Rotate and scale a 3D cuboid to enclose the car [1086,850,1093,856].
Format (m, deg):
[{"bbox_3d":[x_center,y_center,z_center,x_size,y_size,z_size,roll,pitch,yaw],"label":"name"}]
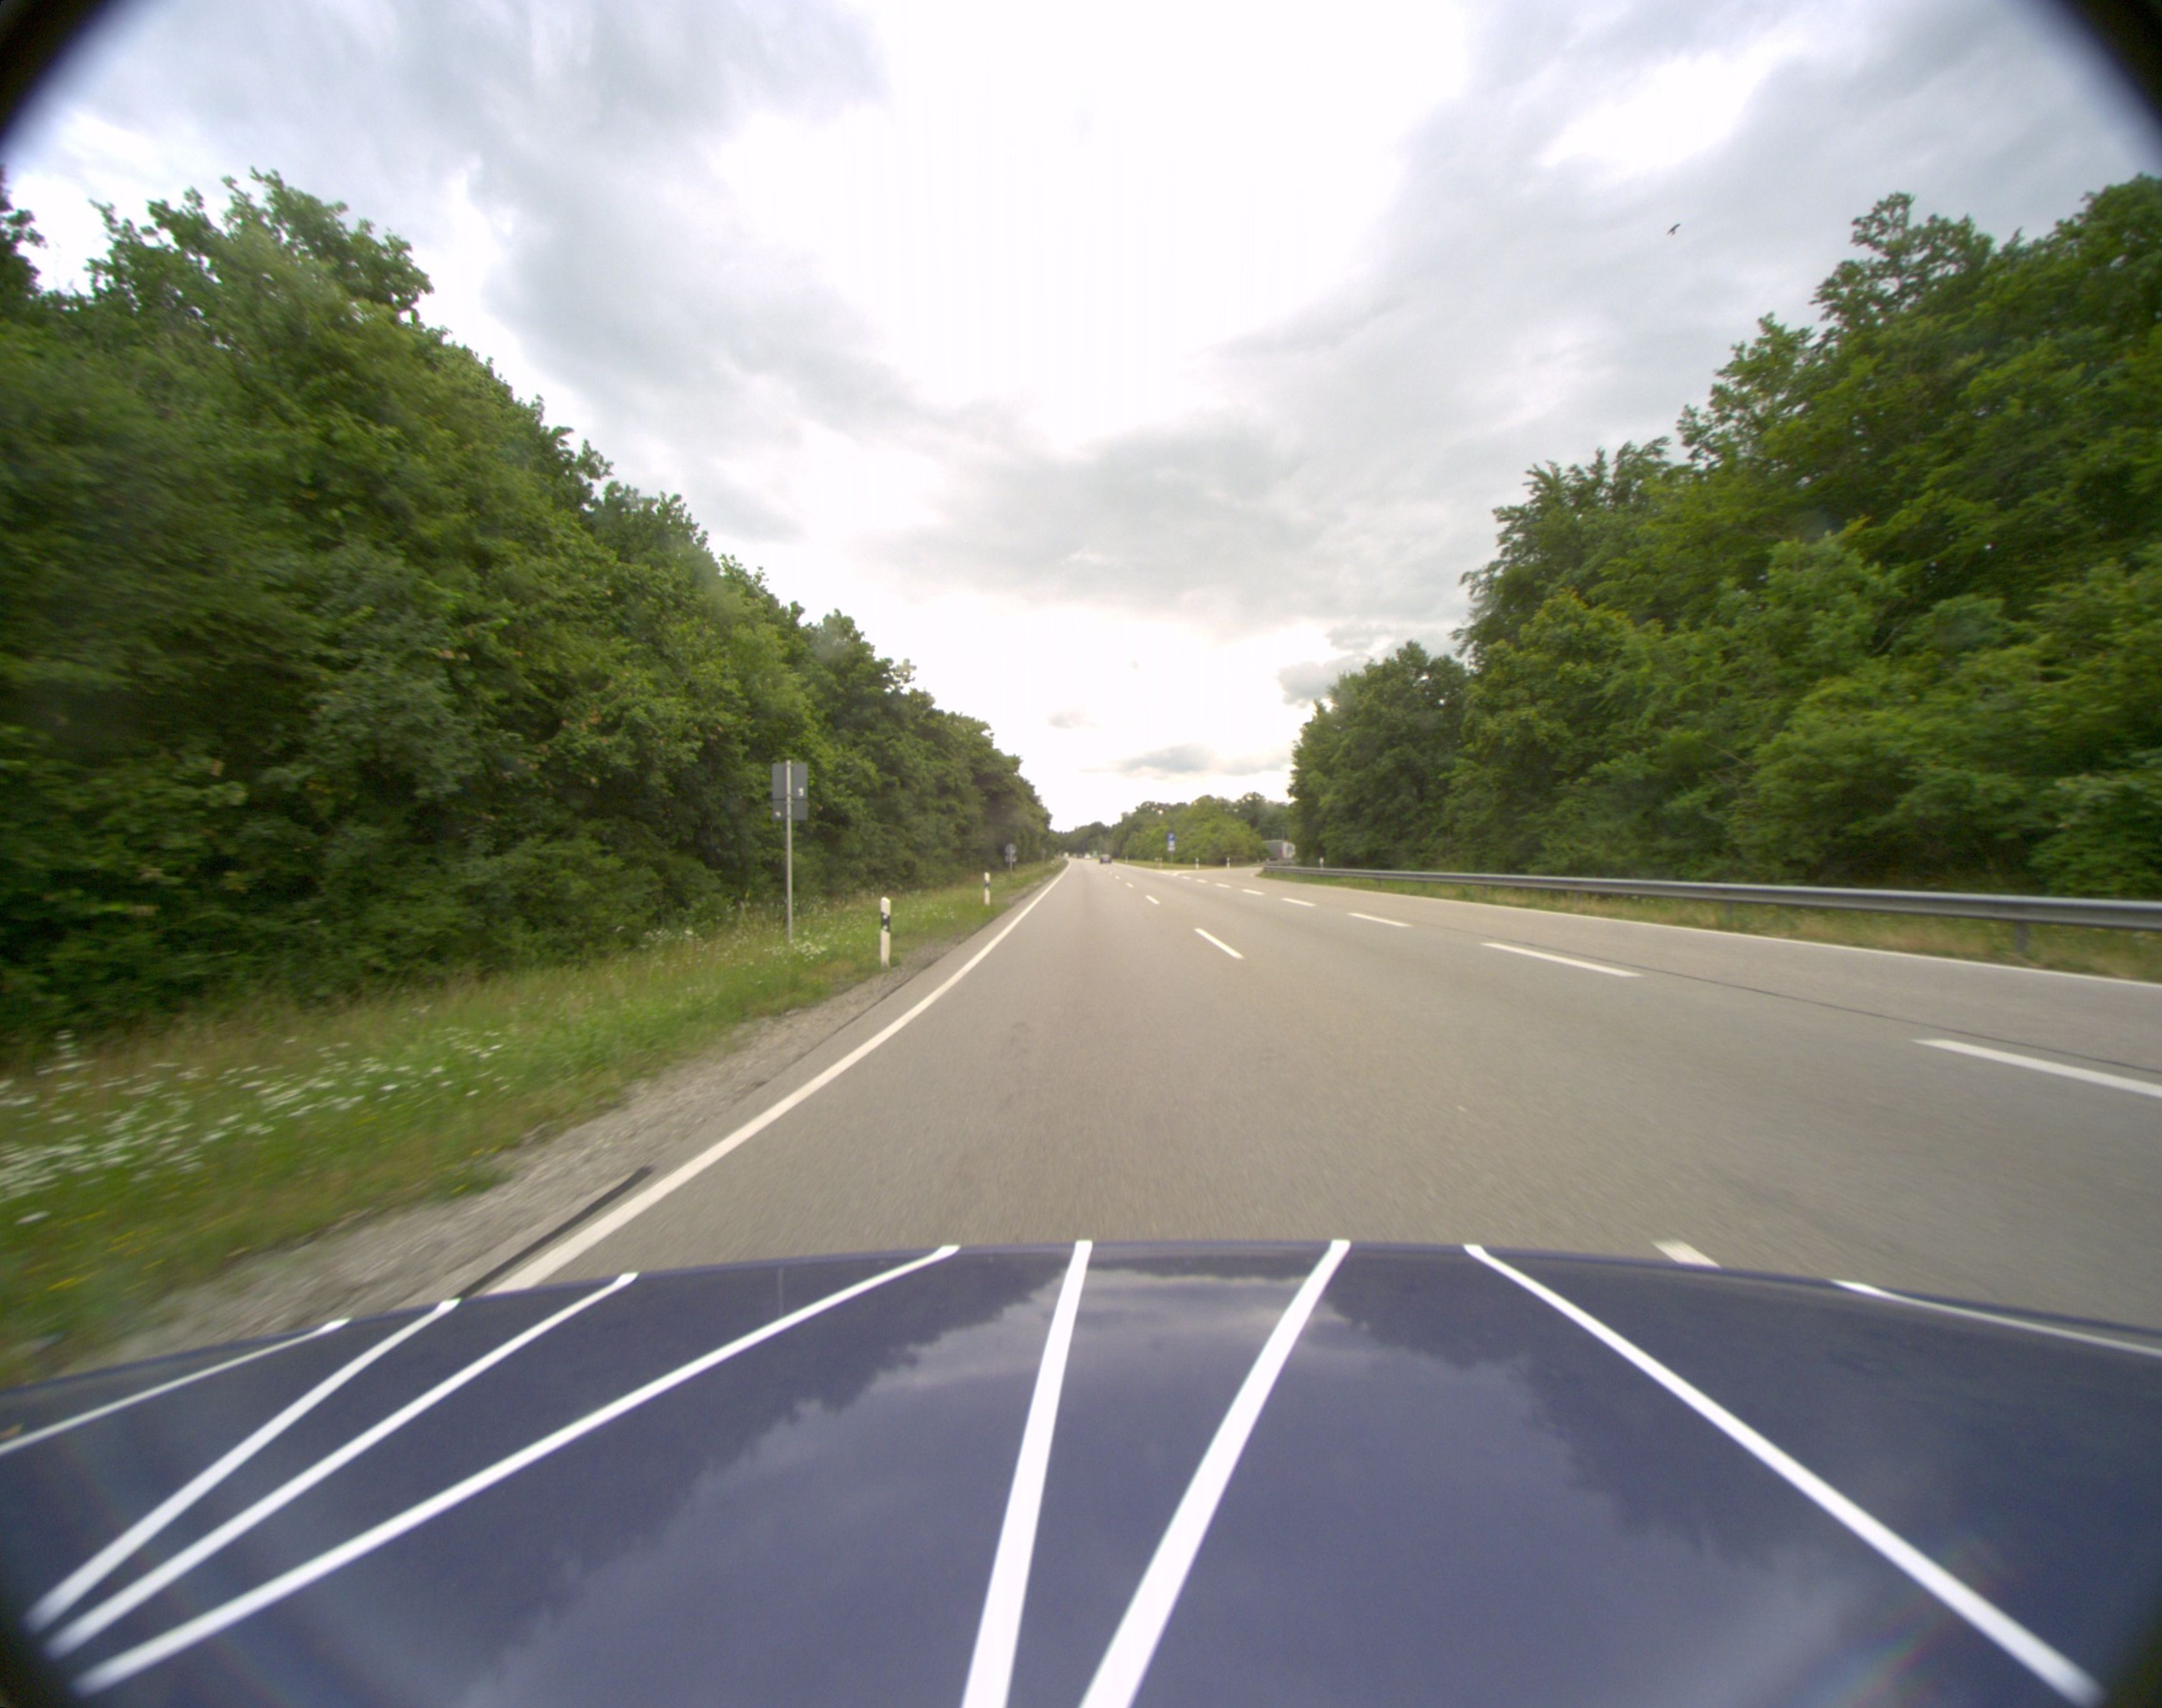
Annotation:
[{"bbox_3d":[2.791,-0.294,243.396,1.918,1.770,4.611,-2,0,-1],"label":"car"}]

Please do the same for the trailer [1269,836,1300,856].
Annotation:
[{"bbox_3d":[35.000,-1.355,130.826,4.688,3.234,2.000,-2,1,0],"label":"trailer"}]

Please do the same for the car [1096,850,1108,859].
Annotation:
[{"bbox_3d":[3.413,0.116,124.150,1.813,1.434,4.446,-2,0,-2],"label":"car"}]
